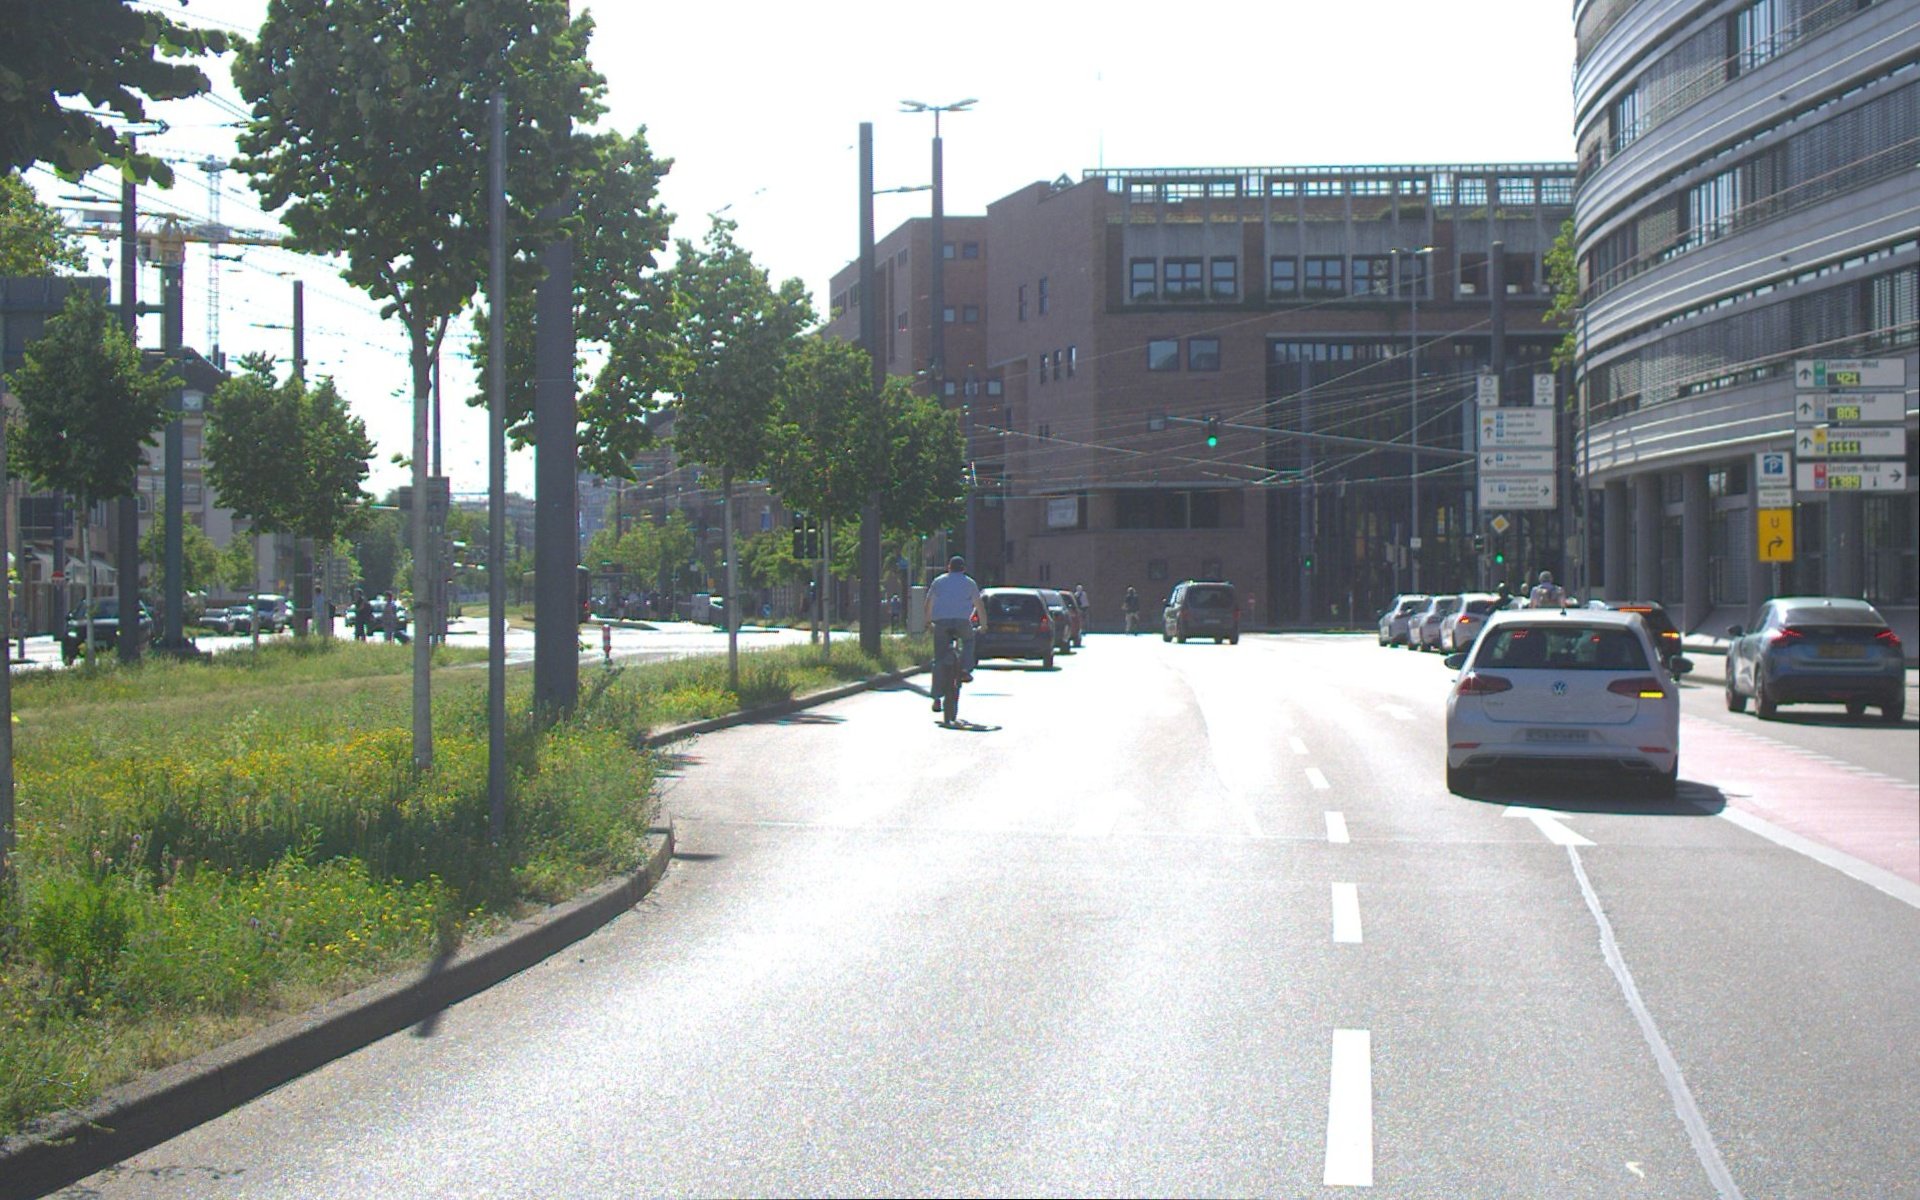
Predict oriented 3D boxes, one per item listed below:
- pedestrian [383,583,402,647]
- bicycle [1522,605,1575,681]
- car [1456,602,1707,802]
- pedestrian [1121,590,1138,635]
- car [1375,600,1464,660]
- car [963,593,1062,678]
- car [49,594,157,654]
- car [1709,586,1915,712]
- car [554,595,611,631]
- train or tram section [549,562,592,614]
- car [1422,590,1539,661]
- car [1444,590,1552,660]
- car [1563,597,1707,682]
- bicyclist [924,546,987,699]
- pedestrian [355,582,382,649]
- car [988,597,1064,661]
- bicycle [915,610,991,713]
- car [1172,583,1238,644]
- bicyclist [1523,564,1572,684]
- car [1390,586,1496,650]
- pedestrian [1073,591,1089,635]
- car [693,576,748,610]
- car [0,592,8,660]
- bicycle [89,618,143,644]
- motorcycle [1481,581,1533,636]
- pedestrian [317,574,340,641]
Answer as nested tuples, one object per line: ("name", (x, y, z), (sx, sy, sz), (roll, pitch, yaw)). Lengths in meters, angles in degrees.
("pedestrian", (-16.097, 0.418, 97.454), (0.385, 1.825, 0.464), (0, 0, -29))
("bicycle", (8.641, 0.629, 50.552), (0.649, 1.106, 1.757), (0, 0, 6))
("car", (4.889, 0.749, 27.479), (1.773, 1.398, 4.292), (2, 0, 8))
("pedestrian", (6.151, 0.455, 124.726), (0.478, 1.651, 0.492), (0, 0, -14))
("car", (13.000, 0.837, 97.553), (1.906, 1.578, 4.138), (2, 1, 0))
("car", (1.023, 0.655, 65.604), (1.726, 1.559, 3.677), (0, 0, 3))
("car", (-19.792, 0.548, 79.496), (1.428, 1.355, 3.295), (0, 0, 5))
("car", (10.803, 0.587, 43.858), (1.721, 1.519, 4.398), (0, 0, 3))
("car", (-18.339, 0.609, 167.015), (2.261, 1.721, 3.945), (0, 0, -13))
("train or tram section", (-23.071, -0.694, 203.051), (2.326, 2.993, 13.162), (0, 0, -7))
("car", (12.529, 0.584, 83.011), (1.906, 1.578, 4.139), (2, 1, -4))
("car", (11.169, 0.495, 71.660), (1.721, 1.391, 4.787), (0, 0, 3))
("car", (11.962, 0.671, 61.171), (1.721, 1.417, 4.637), (1, 0, 1))
("bicyclist", (-0.047, 0.246, 38.316), (0.618, 1.664, 1.019), (1, 0, 3))
("pedestrian", (-16.368, 0.427, 95.108), (0.580, 1.825, 0.498), (0, 0, -36))
("car", (1.553, 0.664, 81.224), (1.726, 1.444, 4.521), (0, 0, 1))
("bicycle", (-0.062, 0.670, 38.439), (0.687, 1.066, 2.697), (1, 0, 3))
("car", (7.270, 0.383, 102.134), (1.782, 1.697, 4.138), (2, 1, 2))
("bicyclist", (8.653, 0.350, 50.668), (0.649, 1.746, 1.045), (0, 1, 6))
("car", (12.458, 0.445, 88.897), (1.906, 1.536, 4.138), (2, 1, -3))
("pedestrian", (4.400, 0.476, 125.099), (0.478, 1.573, 0.414), (0, 0, -14))
("car", (-12.485, -0.361, 179.002), (2.261, 1.721, 3.945), (0, 0, -13))
("car", (-19.715, 0.513, 65.014), (1.993, 1.329, 4.790), (0, 0, 2))
("bicycle", (-42.077, 1.545, 171.406), (2.484, 1.306, 0.733), (0, 0, 0))
("motorcycle", (12.241, 0.192, 77.010), (0.829, 1.197, 2.390), (1, 0, 2))
("pedestrian", (-17.264, 0.194, 93.980), (0.460, 1.825, 0.458), (0, 0, -36))
